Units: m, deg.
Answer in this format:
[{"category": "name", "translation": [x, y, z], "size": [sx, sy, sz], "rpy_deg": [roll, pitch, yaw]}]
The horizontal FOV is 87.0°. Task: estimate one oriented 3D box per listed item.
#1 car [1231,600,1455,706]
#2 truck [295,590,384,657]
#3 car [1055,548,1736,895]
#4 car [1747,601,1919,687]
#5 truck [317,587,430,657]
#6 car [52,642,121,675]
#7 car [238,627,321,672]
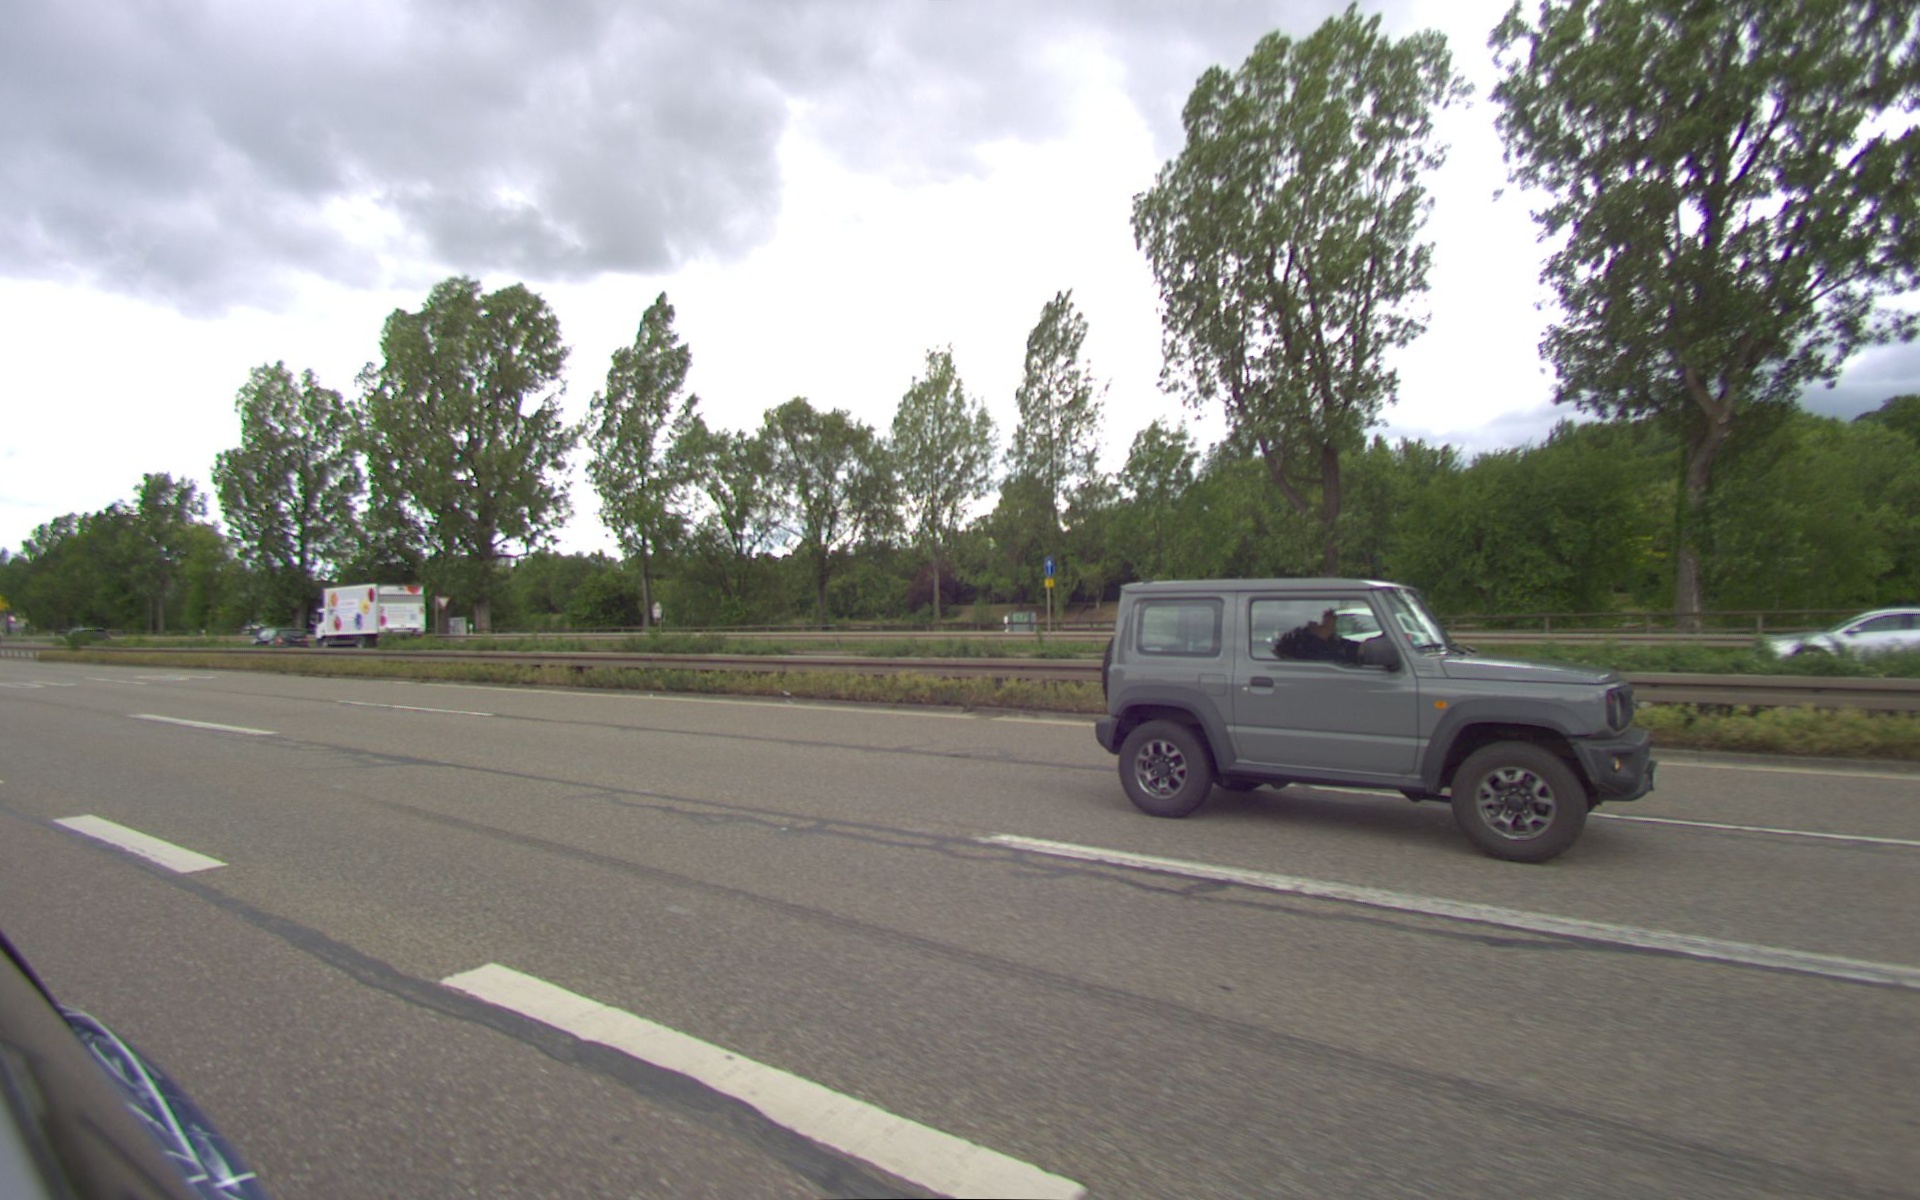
[{"category": "car", "translation": [7.178, 0.975, 19.082], "size": [3.565, 1.821, 1.763], "rpy_deg": [-3, -2, 37]}, {"category": "truck", "translation": [-36.756, 1.385, 59.975], "size": [3.988, 3.670, 2.961], "rpy_deg": [-3, 1, 33]}, {"category": "car", "translation": [2.800, 0.666, 6.992], "size": [3.992, 1.749, 1.665], "rpy_deg": [-2, -2, 37]}, {"category": "car", "translation": [19.799, 0.906, 21.547], "size": [4.591, 1.656, 1.978], "rpy_deg": [-3, 1, 34]}, {"category": "truck", "translation": [-33.536, 1.251, 57.838], "size": [6.319, 3.670, 2.959], "rpy_deg": [-3, 1, 33]}, {"category": "car", "translation": [-52.276, 3.490, 60.541], "size": [5.514, 1.743, 1.830], "rpy_deg": [-3, 1, 36]}, {"category": "car", "translation": [-33.784, 2.452, 50.252], "size": [3.989, 2.028, 1.978], "rpy_deg": [-3, 1, 34]}]
